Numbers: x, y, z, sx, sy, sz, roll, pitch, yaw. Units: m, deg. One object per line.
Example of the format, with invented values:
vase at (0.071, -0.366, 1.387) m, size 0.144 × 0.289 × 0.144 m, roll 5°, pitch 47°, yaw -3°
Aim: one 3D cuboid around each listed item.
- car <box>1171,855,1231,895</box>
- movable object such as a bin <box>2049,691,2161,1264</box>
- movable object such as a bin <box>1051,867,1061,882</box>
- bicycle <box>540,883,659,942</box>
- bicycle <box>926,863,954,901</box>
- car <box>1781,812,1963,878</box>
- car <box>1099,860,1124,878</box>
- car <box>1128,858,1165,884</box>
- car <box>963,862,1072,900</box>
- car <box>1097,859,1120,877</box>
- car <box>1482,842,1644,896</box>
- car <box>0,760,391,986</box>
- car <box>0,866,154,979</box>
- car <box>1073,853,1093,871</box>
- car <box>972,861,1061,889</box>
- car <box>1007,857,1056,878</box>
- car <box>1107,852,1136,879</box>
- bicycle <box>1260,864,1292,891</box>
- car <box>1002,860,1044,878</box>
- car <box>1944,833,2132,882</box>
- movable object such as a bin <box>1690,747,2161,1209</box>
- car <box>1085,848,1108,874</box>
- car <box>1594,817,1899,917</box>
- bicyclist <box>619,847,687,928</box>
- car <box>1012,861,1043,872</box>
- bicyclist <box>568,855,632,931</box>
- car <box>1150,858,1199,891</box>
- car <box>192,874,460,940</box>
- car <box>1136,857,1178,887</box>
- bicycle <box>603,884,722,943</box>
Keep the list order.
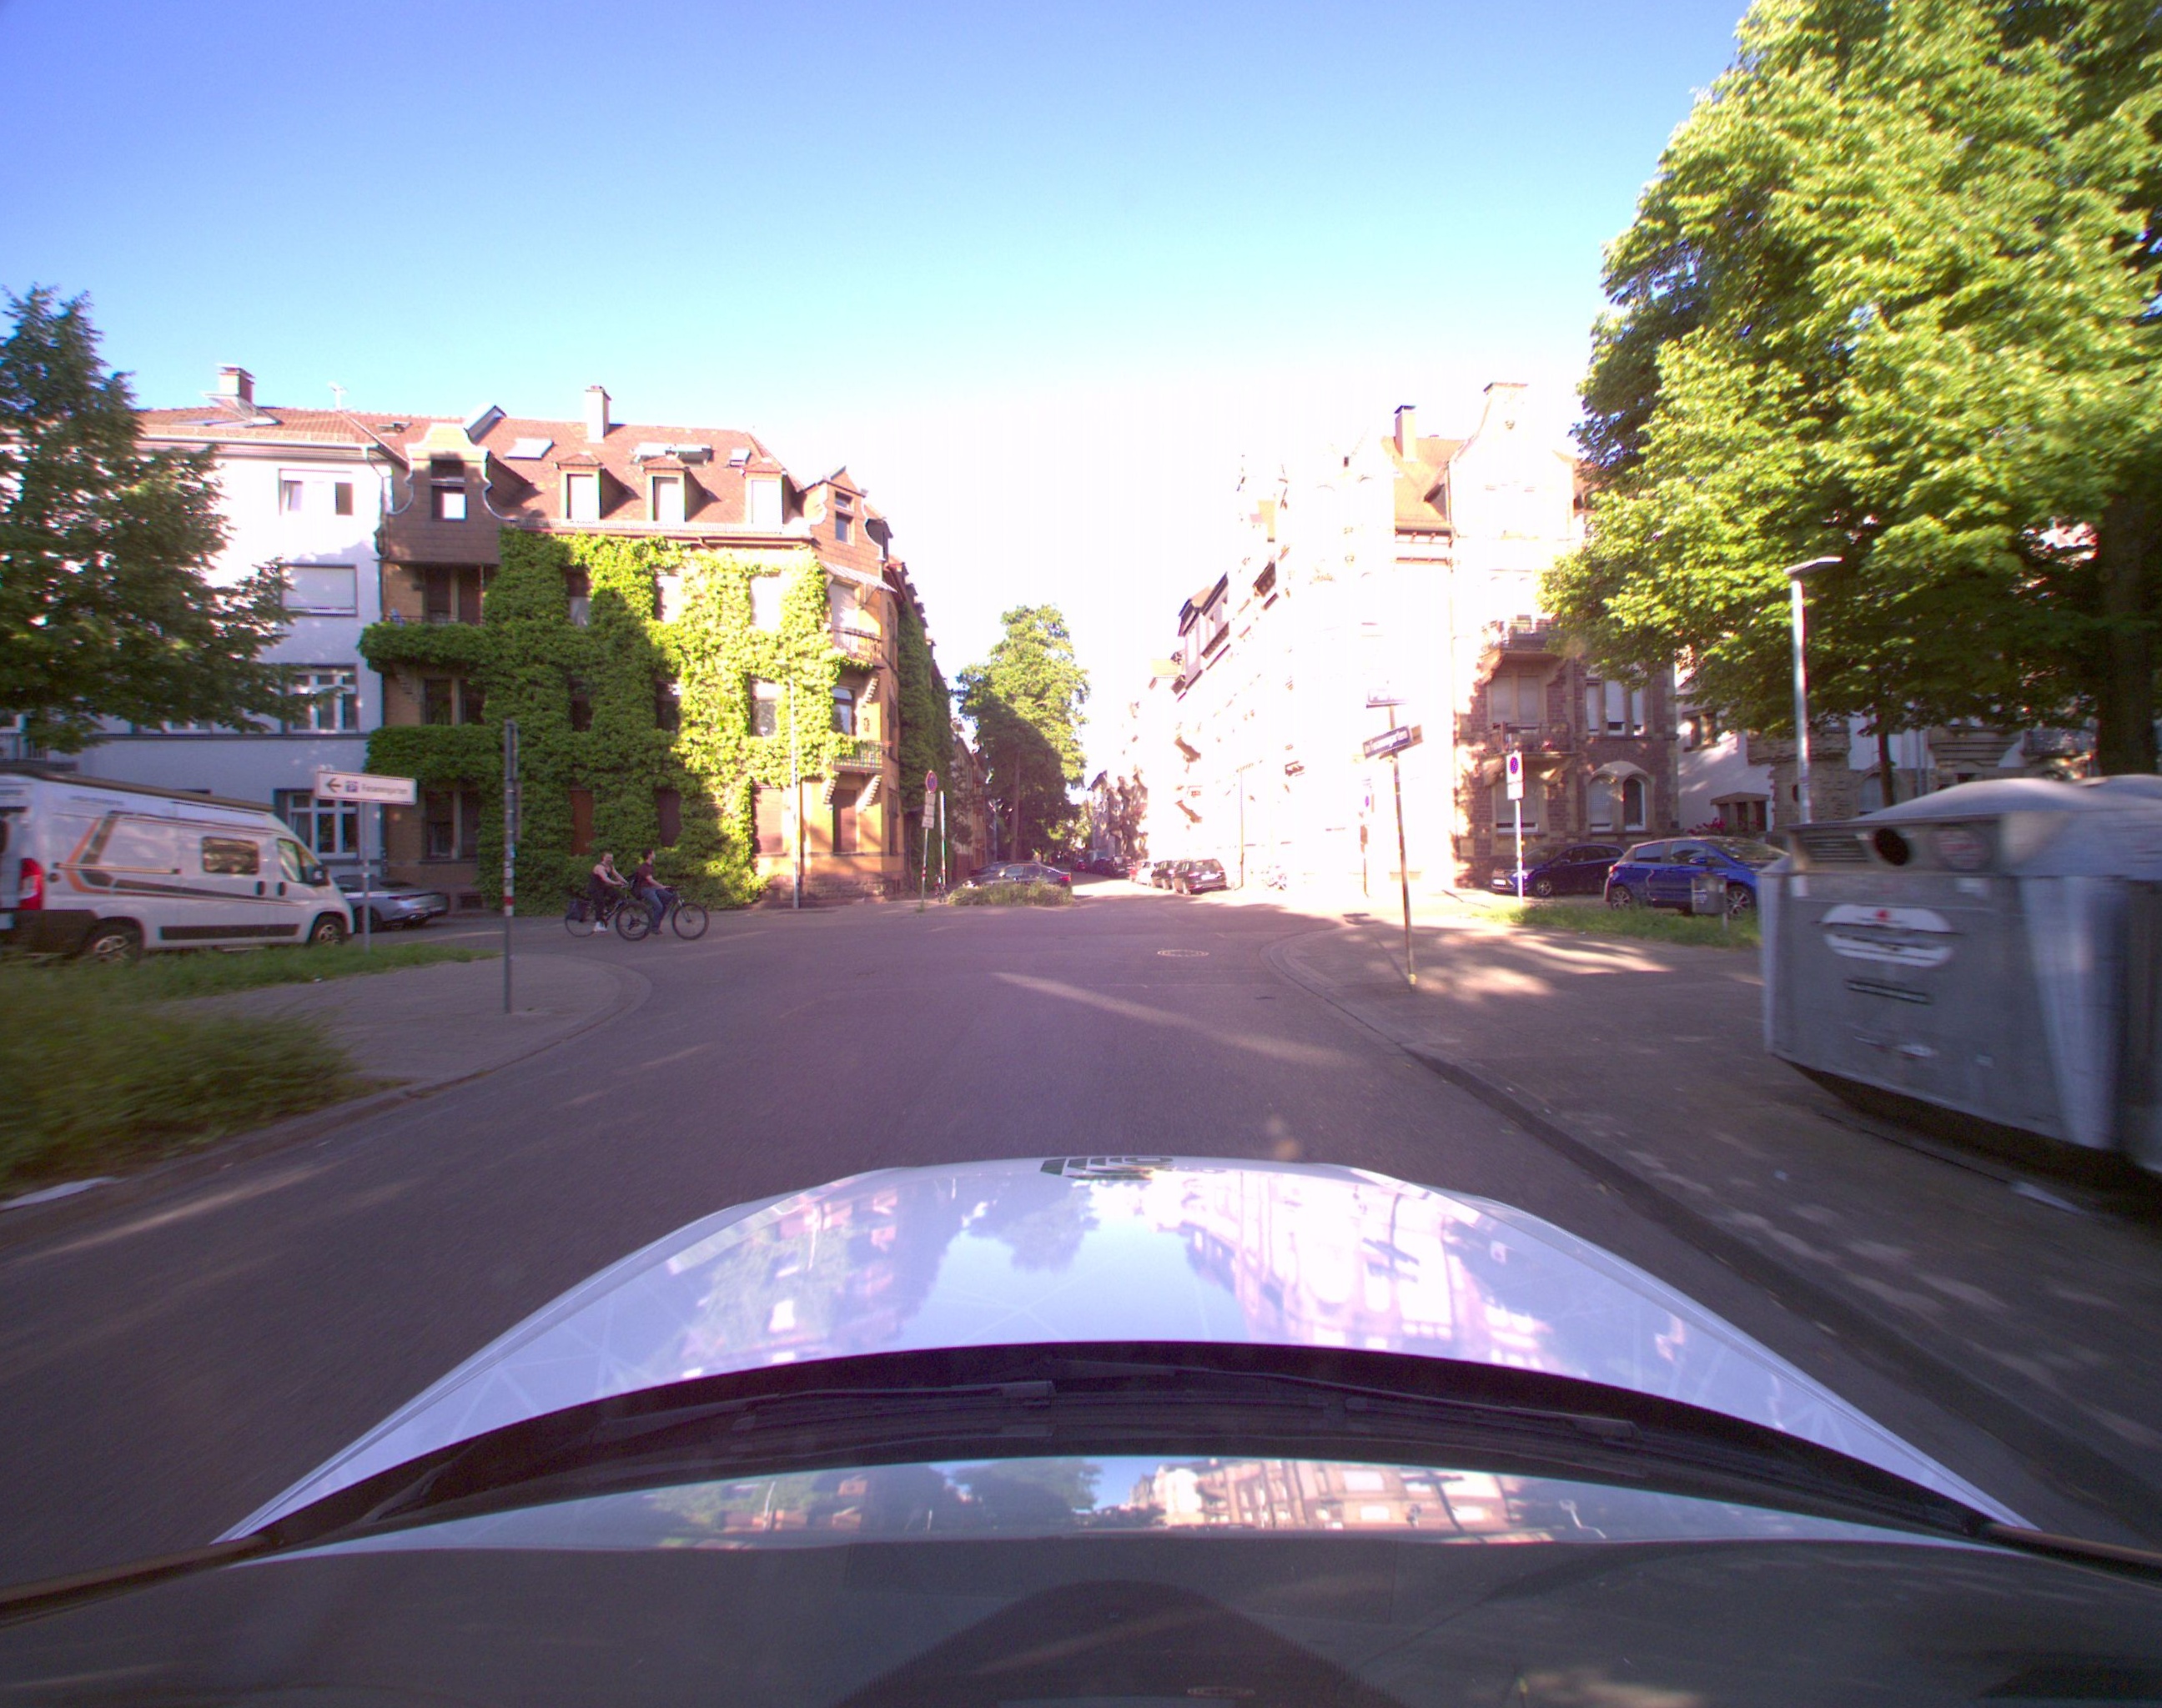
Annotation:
car at (4.993, 0.852, 34.403) m, size 1.734 × 1.581 × 3.994 m, roll 0°, pitch -1°, yaw -4°
movable object such as a bin at (4.007, 0.386, 2.185) m, size 1.143 × 1.827 × 1.386 m, roll 0°, pitch -1°, yaw 1°
movable object such as a bin at (-1.756, 1.403, 56.386) m, size 0.629 × 1.053 × 0.566 m, roll 0°, pitch -1°, yaw -10°
bicycle at (-9.939, 1.183, 16.889) m, size 1.964 × 1.073 × 0.695 m, roll -2°, pitch -1°, yaw -12°
bicycle at (-4.900, 0.949, 28.359) m, size 0.560 × 1.268 × 1.604 m, roll -2°, pitch -1°, yaw 4°
car at (25.885, -0.298, 26.726) m, size 4.481 × 1.974 × 1.969 m, roll -2°, pitch 0°, yaw -9°
car at (2.676, 1.328, 71.330) m, size 1.799 × 1.514 × 3.994 m, roll 0°, pitch -1°, yaw -4°
car at (4.027, 1.038, 50.545) m, size 1.734 × 1.581 × 3.994 m, roll 0°, pitch -1°, yaw -4°
car at (-2.544, 1.070, 32.605) m, size 4.237 × 1.435 × 1.996 m, roll 0°, pitch -1°, yaw -6°
car at (2.603, 1.330, 78.080) m, size 1.799 × 1.679 × 3.994 m, roll 0°, pitch -1°, yaw -4°
car at (14.976, 0.437, 25.375) m, size 4.243 × 1.622 × 1.730 m, roll 0°, pitch 0°, yaw -9°
car at (-13.542, 0.262, 12.122) m, size 2.229 × 2.614 × 5.617 m, roll 0°, pitch -1°, yaw -7°
car at (-16.138, 0.963, 11.260) m, size 1.970 × 1.575 × 4.289 m, roll 0°, pitch -1°, yaw -7°
car at (0.234, 1.060, 105.459) m, size 2.162 × 2.237 × 4.784 m, roll 0°, pitch -1°, yaw -4°
car at (-3.550, 1.146, 44.954) m, size 4.828 × 1.435 × 1.706 m, roll 0°, pitch -1°, yaw -6°
car at (-3.954, 1.068, 64.453) m, size 3.799 × 1.575 × 1.705 m, roll 0°, pitch -1°, yaw -8°
car at (3.111, 0.880, 62.952) m, size 1.799 × 2.004 × 3.994 m, roll 0°, pitch -1°, yaw -4°
bicycle at (7.407, 0.869, 30.985) m, size 0.515 × 0.998 × 1.567 m, roll 0°, pitch -1°, yaw -16°
car at (-5.270, 1.355, 74.145) m, size 3.796 × 1.575 × 1.706 m, roll 0°, pitch -1°, yaw -6°
car at (32.194, 0.120, 27.453) m, size 4.686 × 1.574 × 1.732 m, roll 0°, pitch -1°, yaw -6°
movable object such as a bin at (4.207, 0.452, 3.750) m, size 1.580 × 1.657 × 1.640 m, roll 0°, pitch -1°, yaw 1°
car at (1.634, 0.781, 88.398) m, size 2.162 × 2.691 × 4.784 m, roll 0°, pitch -1°, yaw -4°
car at (11.761, 0.280, 14.821) m, size 1.992 × 1.556 × 3.988 m, roll 0°, pitch -2°, yaw -8°
bicyclist at (-8.344, 0.642, 15.919) m, size 0.968 × 1.527 × 0.719 m, roll 0°, pitch -1°, yaw -7°
car at (-6.607, 1.526, 100.335) m, size 3.796 × 1.240 × 1.706 m, roll 0°, pitch -1°, yaw -6°
bicyclist at (-9.954, 0.787, 16.883) m, size 0.970 × 1.527 × 0.705 m, roll 0°, pitch -1°, yaw -13°
car at (4.616, 0.990, 40.506) m, size 1.734 × 1.581 × 3.994 m, roll 0°, pitch -1°, yaw -4°
car at (-19.530, 1.347, 21.292) m, size 4.905 × 1.405 × 1.879 m, roll -2°, pitch 1°, yaw -7°
car at (4.250, 0.990, 45.997) m, size 1.734 × 1.581 × 3.994 m, roll 0°, pitch -1°, yaw -4°
bicycle at (-8.147, 1.155, 15.908) m, size 1.960 × 1.072 × 0.556 m, roll 0°, pitch 1°, yaw -7°
